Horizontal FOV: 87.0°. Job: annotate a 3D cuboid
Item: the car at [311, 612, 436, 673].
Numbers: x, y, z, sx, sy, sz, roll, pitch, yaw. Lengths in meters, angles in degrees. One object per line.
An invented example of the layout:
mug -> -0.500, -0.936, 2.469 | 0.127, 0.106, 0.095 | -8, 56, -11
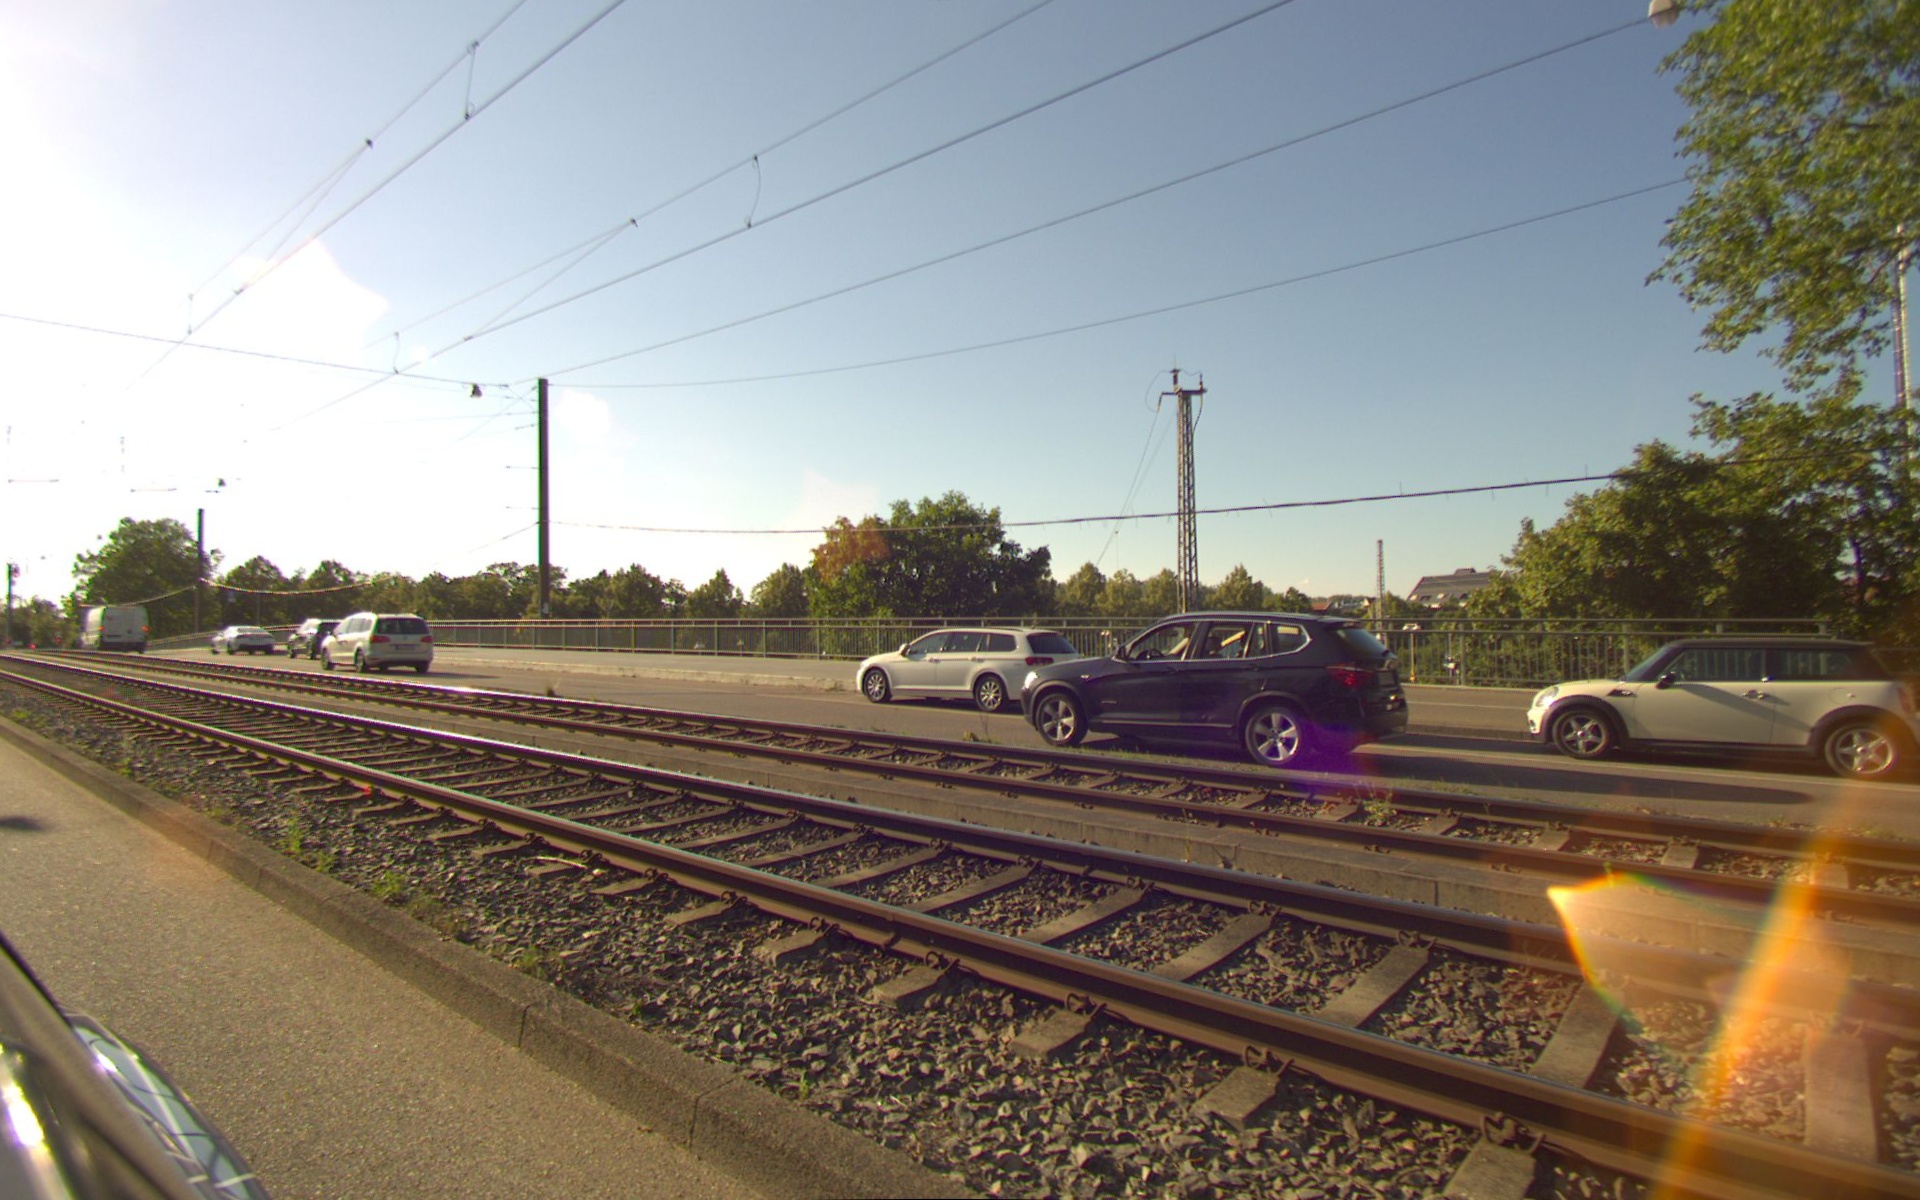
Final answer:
car -> -17.607, 1.291, 30.287 | 4.595, 1.678, 1.853 | -2, -5, 42

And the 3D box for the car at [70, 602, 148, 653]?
car -> -45.809, 1.496, 54.444 | 6.034, 2.613, 2.066 | -2, -3, 39

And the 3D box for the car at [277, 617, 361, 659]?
car -> -27.041, 1.617, 42.654 | 4.444, 1.663, 1.761 | -3, -5, 41

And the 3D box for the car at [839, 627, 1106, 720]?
car -> 0.100, 1.271, 18.651 | 4.952, 1.475, 1.724 | -2, -2, 40

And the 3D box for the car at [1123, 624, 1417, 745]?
car -> 4.458, 1.149, 14.846 | 3.788, 1.543, 1.616 | -2, -2, 41

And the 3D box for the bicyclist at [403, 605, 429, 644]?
bicyclist -> -23.369, 1.068, 43.482 | 0.889, 1.639, 0.672 | -2, 0, 42

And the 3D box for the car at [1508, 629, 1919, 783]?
car -> 8.577, 1.083, 11.391 | 3.998, 1.462, 1.617 | -2, -2, 39

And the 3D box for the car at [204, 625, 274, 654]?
car -> -35.851, 1.975, 50.273 | 4.917, 1.367, 1.666 | -2, -4, 41

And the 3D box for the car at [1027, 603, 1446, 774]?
car -> 3.041, 0.931, 11.777 | 4.393, 1.636, 1.723 | -2, -3, 42
